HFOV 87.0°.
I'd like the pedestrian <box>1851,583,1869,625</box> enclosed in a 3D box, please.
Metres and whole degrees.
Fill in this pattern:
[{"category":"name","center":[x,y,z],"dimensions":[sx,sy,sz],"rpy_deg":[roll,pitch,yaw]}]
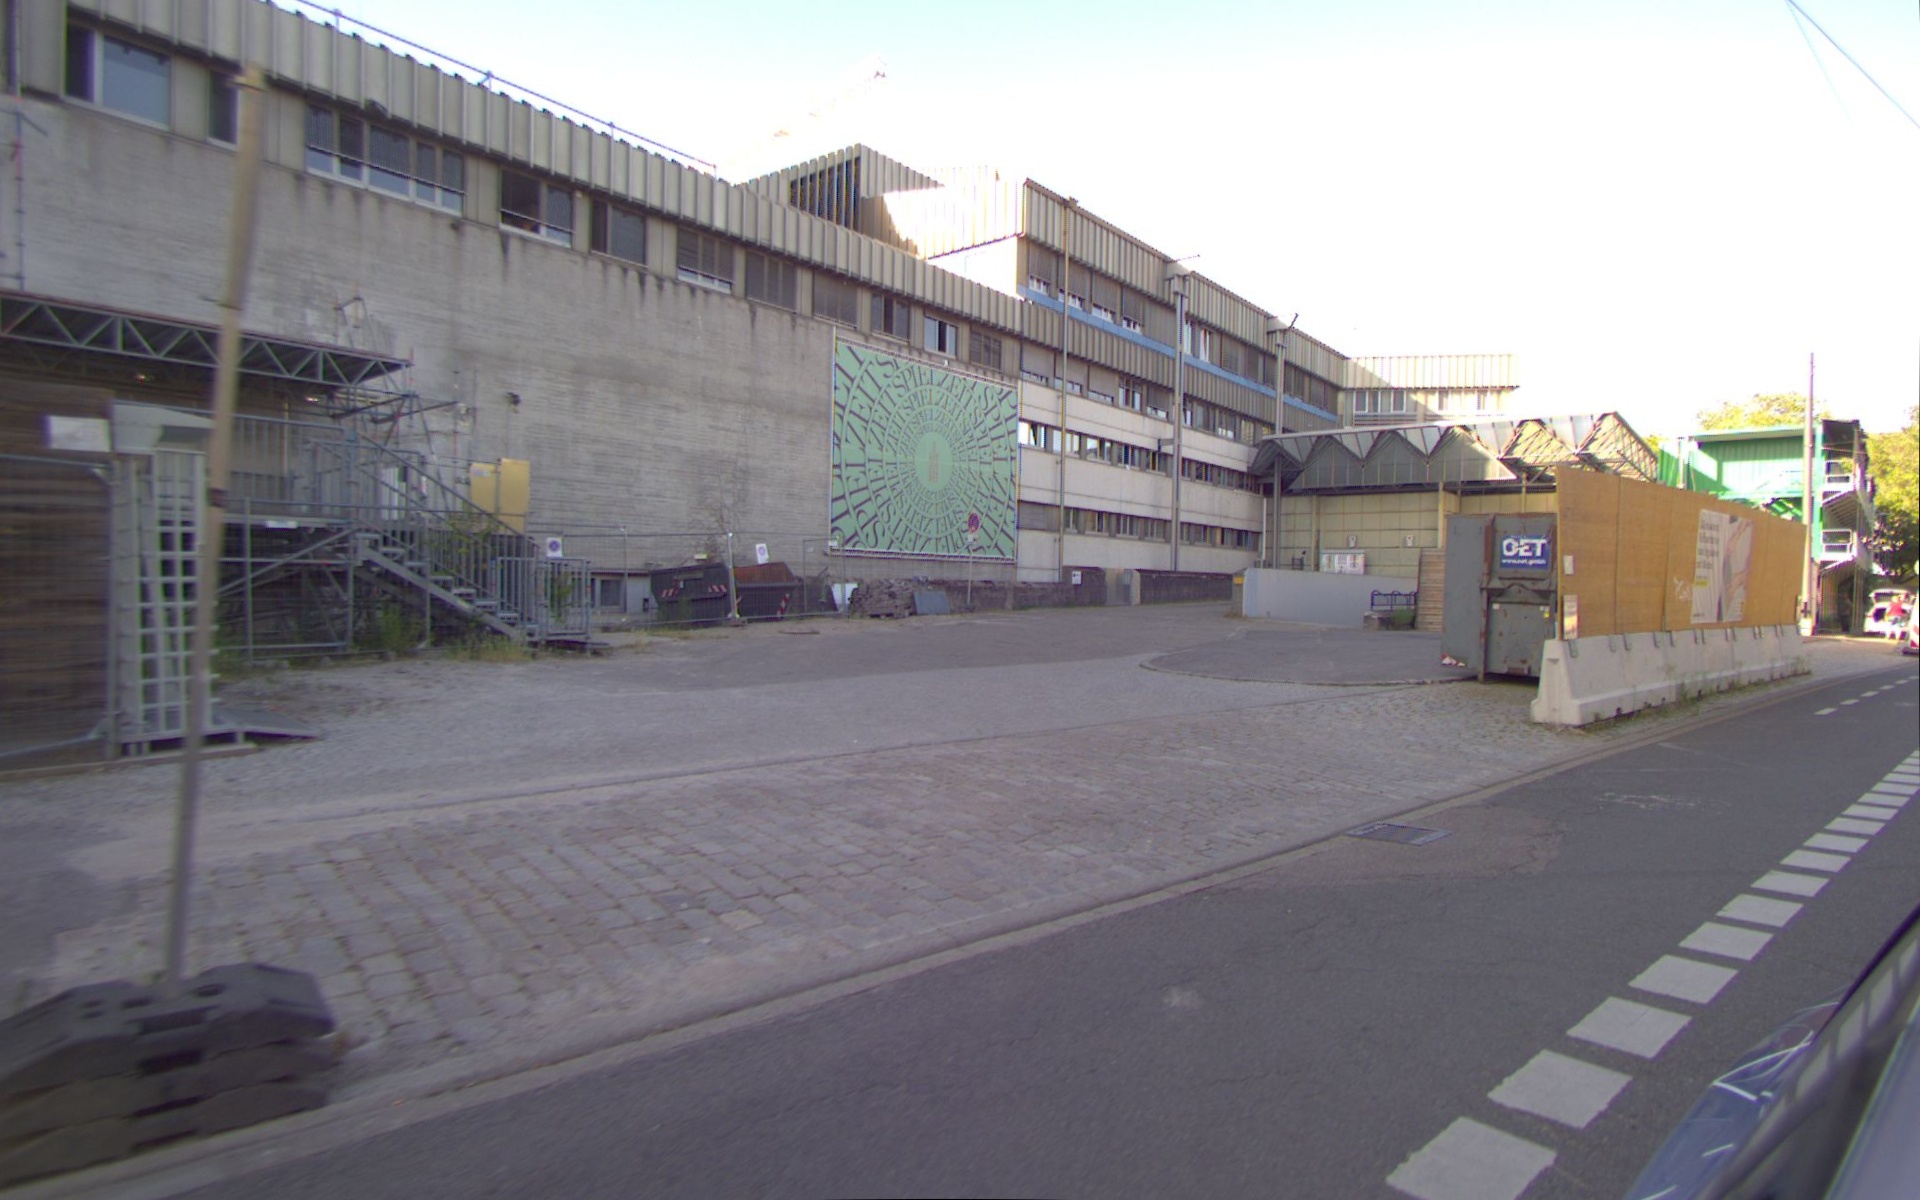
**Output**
[{"category":"pedestrian","center":[38.151,0.158,42.911],"dimensions":[0.445,1.780,0.373],"rpy_deg":[1,1,30]}]

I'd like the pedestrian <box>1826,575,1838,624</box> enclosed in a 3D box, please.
[{"category":"pedestrian","center":[37.318,-0.031,43.308],"dimensions":[0.306,2.071,0.347],"rpy_deg":[2,1,44]}]
